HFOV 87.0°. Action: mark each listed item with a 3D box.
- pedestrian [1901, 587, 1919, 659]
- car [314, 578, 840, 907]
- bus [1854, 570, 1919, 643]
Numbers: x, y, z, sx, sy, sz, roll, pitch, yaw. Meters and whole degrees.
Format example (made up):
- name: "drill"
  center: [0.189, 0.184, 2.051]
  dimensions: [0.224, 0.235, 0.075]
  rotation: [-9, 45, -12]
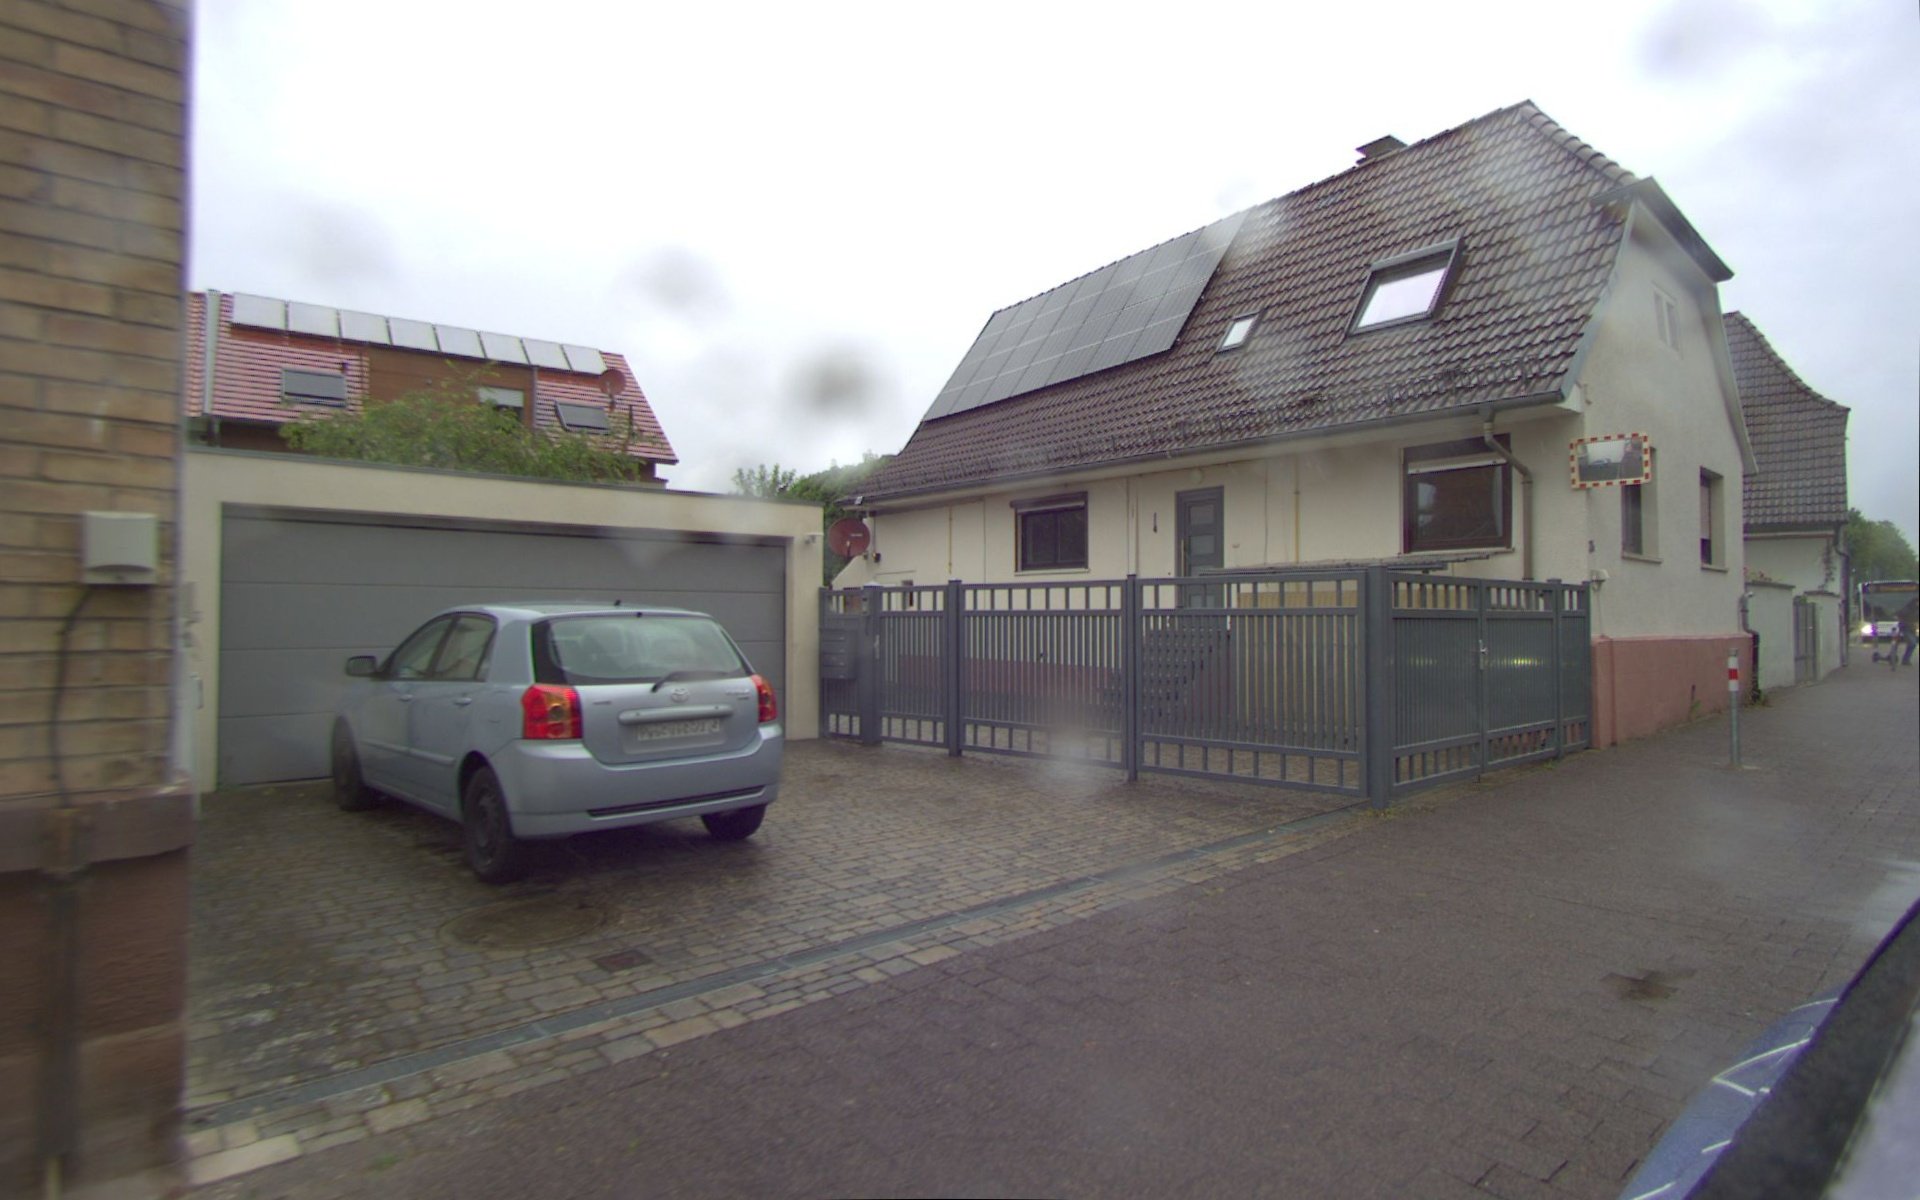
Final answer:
- name: "pedestrian"
  center: [23.807, 0.564, 25.041]
  dimensions: [0.694, 1.755, 0.808]
  rotation: [-2, -2, 42]
- name: "car"
  center: [-2.737, 0.701, 6.715]
  dimensions: [3.896, 1.517, 1.822]
  rotation: [-2, -1, 45]
- name: "bus"
  center: [49.485, 0.312, 53.278]
  dimensions: [3.429, 3.455, 13.658]
  rotation: [-2, -1, 42]
